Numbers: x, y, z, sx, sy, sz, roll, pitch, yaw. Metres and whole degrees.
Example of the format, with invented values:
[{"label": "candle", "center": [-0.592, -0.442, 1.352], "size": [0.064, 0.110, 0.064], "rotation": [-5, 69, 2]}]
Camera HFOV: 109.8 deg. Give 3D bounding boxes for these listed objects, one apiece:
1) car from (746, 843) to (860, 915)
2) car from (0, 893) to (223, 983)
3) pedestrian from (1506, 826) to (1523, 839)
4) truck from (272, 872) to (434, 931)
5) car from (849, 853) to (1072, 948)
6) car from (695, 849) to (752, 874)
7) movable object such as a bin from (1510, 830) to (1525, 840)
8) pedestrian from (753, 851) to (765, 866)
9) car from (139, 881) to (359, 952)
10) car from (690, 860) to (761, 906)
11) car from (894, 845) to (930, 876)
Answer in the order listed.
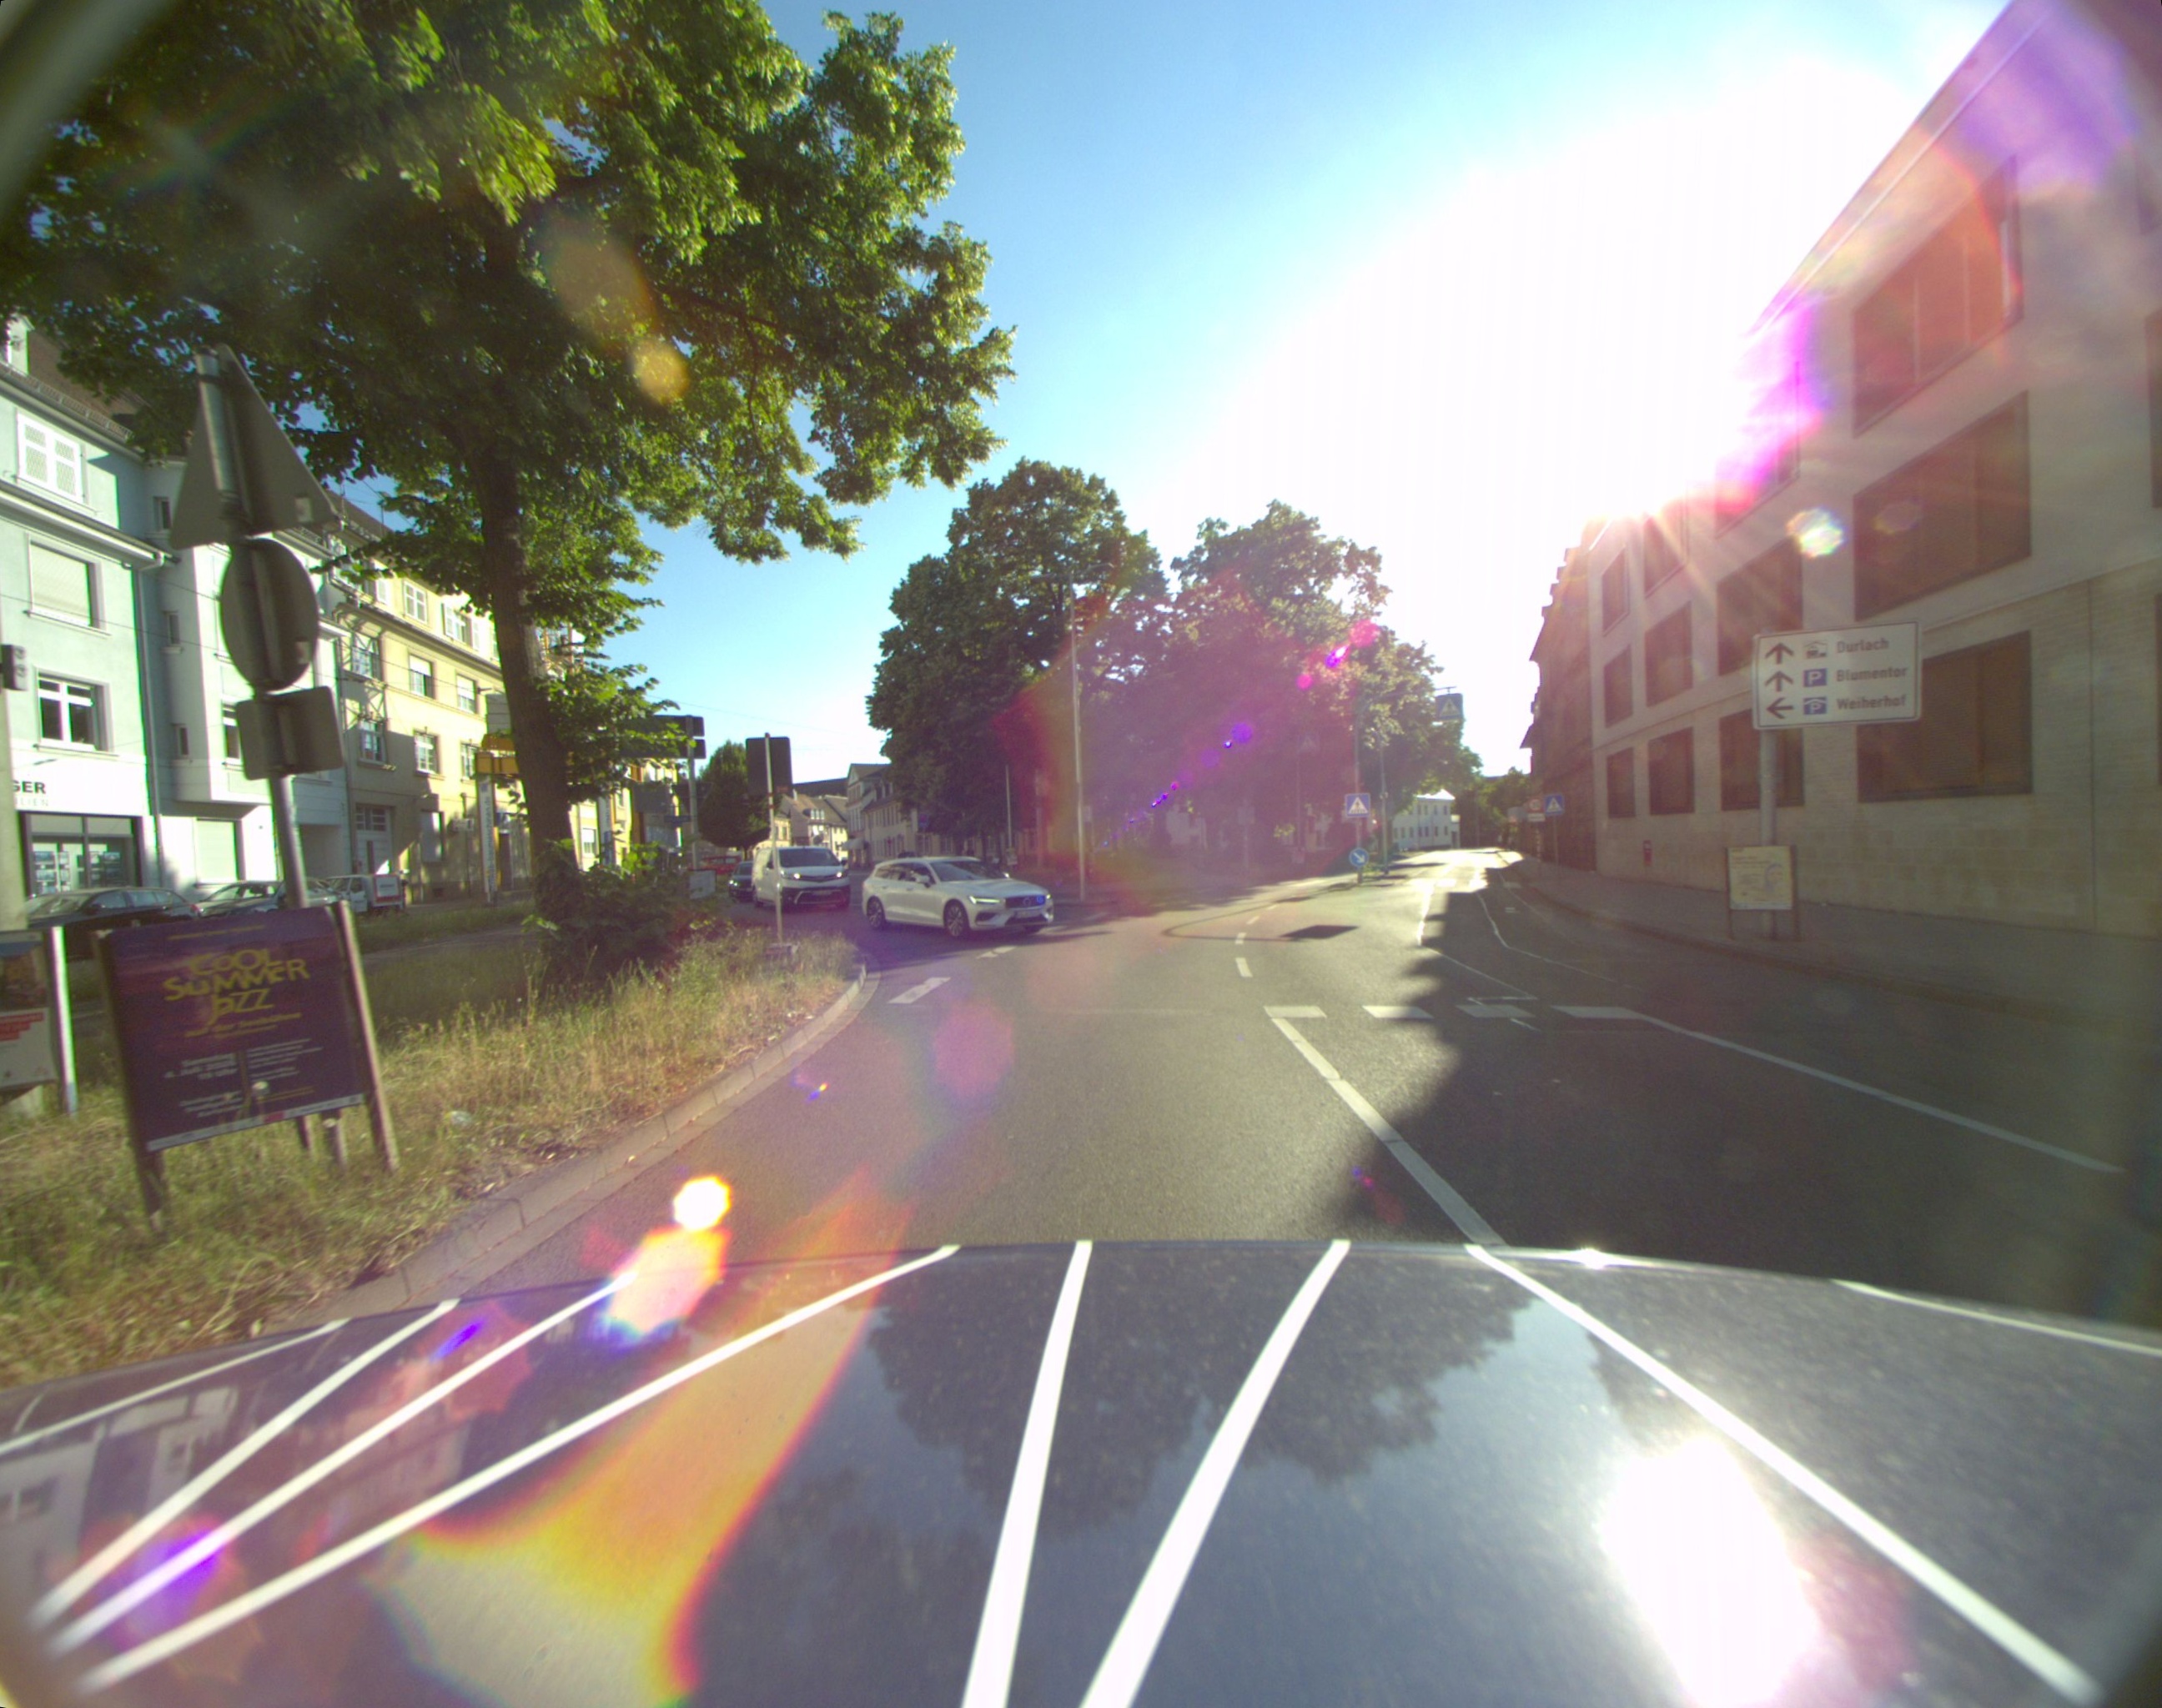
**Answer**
[{"label": "car", "center": [-8.382, 0.689, 22.605], "size": [2.003, 1.843, 4.890], "rotation": [-3, 1, -33]}, {"label": "car", "center": [-20.532, 1.651, 15.418], "size": [2.001, 1.378, 4.204], "rotation": [-3, 1, -13]}, {"label": "pedestrian", "center": [45.346, -2.213, 79.452], "size": [0.842, 1.222, 1.156], "rotation": [-5, 1, -27]}, {"label": "truck", "center": [-23.409, 1.454, 24.675], "size": [2.001, 1.576, 4.091], "rotation": [-3, 1, -15]}, {"label": "car", "center": [-2.478, 0.803, 14.599], "size": [1.858, 1.455, 4.760], "rotation": [-3, 1, -42]}, {"label": "car", "center": [-30.564, 0.649, 64.997], "size": [4.074, 1.910, 1.997], "rotation": [-3, 1, -17]}, {"label": "movable object such as a bin", "center": [45.479, -1.954, 79.227], "size": [0.842, 0.923, 1.036], "rotation": [-5, 0, -27]}, {"label": "pedestrian", "center": [-42.680, 0.594, 100.843], "size": [1.357, 2.002, 1.156], "rotation": [-3, 2, -23]}, {"label": "car", "center": [-21.820, 1.551, 20.228], "size": [2.001, 1.444, 4.091], "rotation": [-3, 1, -15]}, {"label": "car", "center": [-12.772, 0.996, 27.549], "size": [2.002, 1.436, 4.064], "rotation": [-3, 1, -21]}, {"label": "car", "center": [-10.886, 0.370, 48.851], "size": [2.001, 1.784, 3.994], "rotation": [-4, 2, -15]}]
